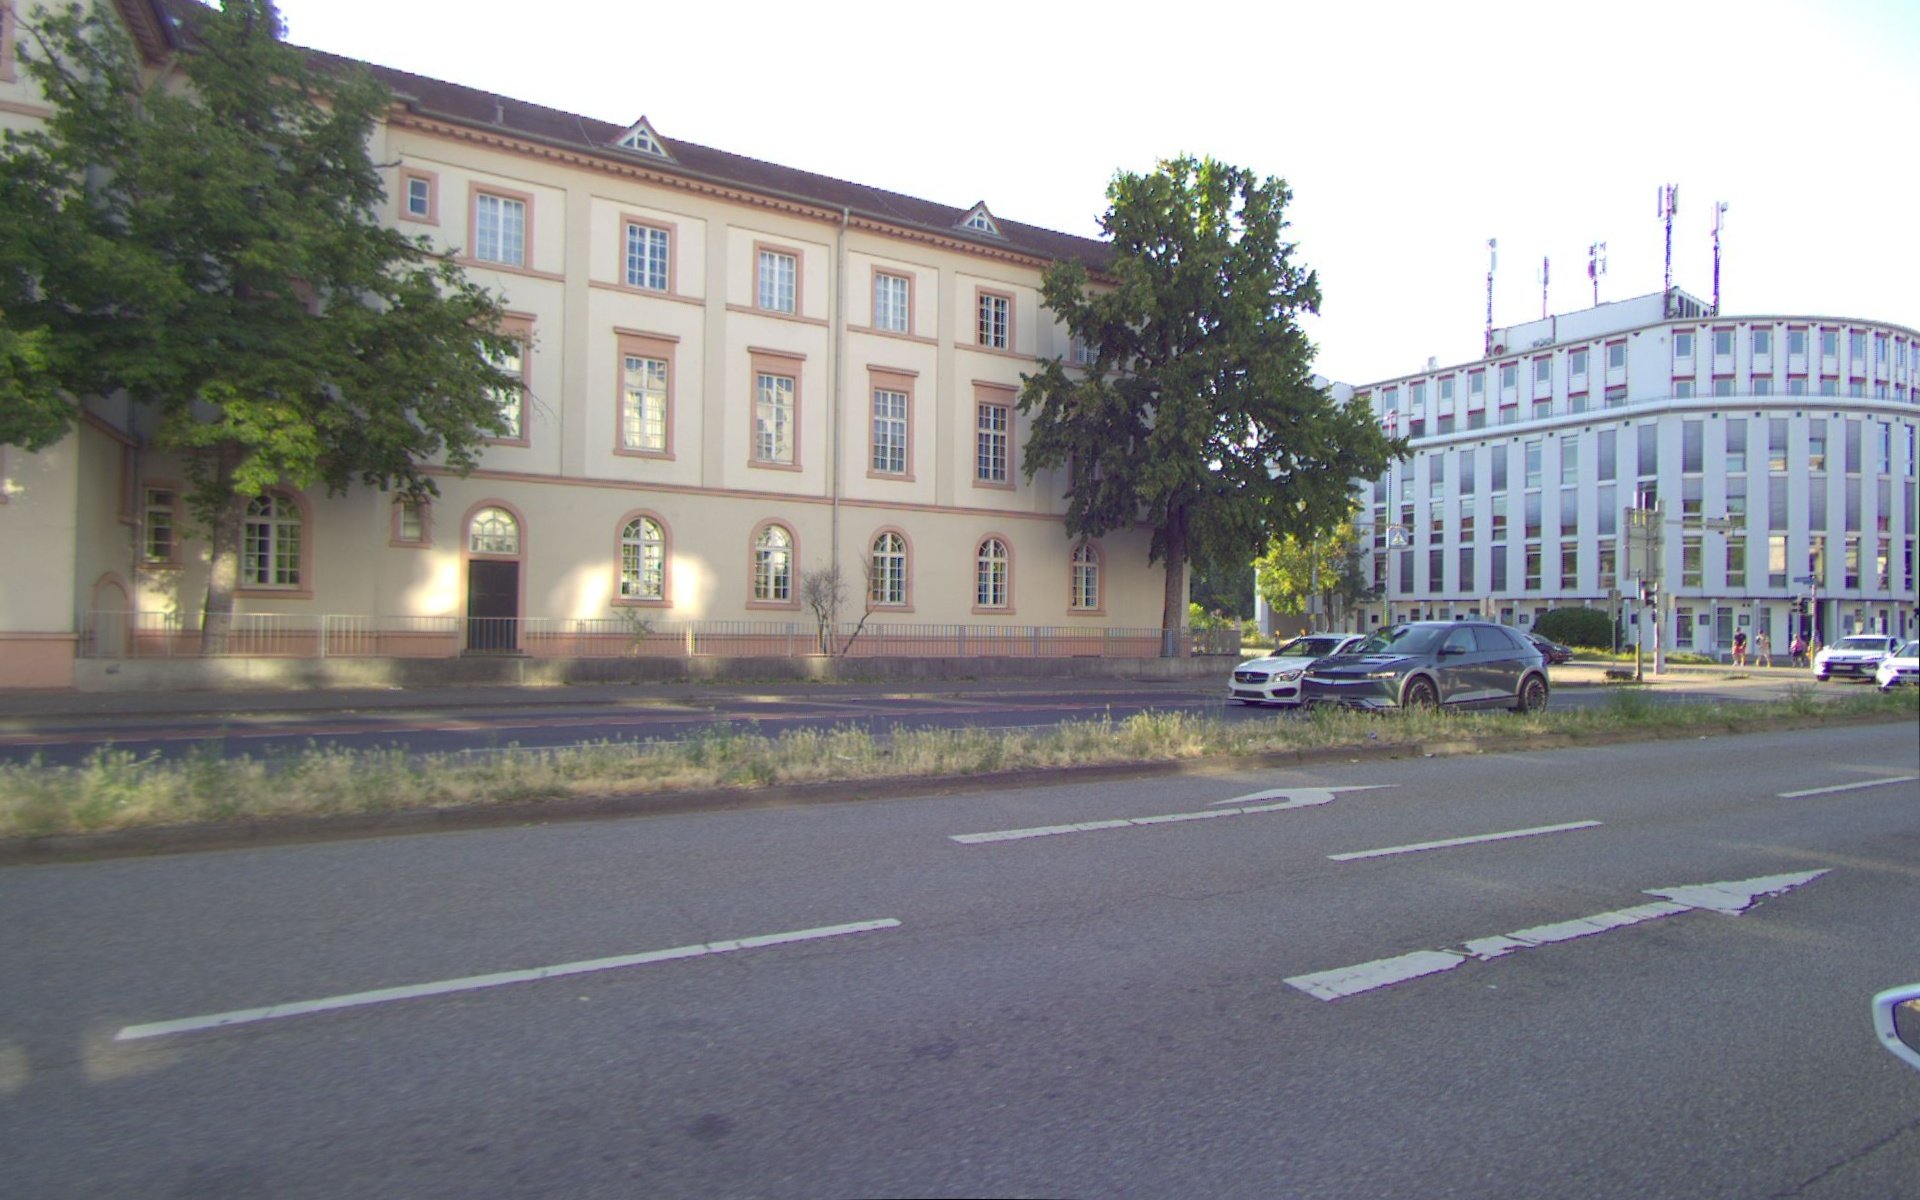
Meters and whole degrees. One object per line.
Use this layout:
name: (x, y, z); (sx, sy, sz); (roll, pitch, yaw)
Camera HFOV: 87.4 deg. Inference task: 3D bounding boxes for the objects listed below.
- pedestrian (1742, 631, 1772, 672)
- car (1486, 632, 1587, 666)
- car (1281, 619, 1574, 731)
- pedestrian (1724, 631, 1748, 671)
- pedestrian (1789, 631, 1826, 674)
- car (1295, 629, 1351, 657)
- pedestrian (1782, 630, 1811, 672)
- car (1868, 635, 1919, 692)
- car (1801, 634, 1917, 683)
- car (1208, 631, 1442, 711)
pedestrian: (36.986, 2.367, 46.625); (0.803, 1.866, 0.760); (1, -1, -9)
car: (27.468, 2.350, 47.940); (1.843, 1.549, 3.788); (4, -4, -32)
car: (7.710, 1.149, 16.443); (4.842, 1.599, 1.984); (2, -2, -31)
pedestrian: (36.617, 2.412, 47.383); (0.769, 1.883, 0.657); (1, -2, -30)
pedestrian: (37.707, 2.313, 44.687); (1.105, 1.893, 0.629); (1, -1, -1)
car: (26.798, 3.170, 74.247); (3.796, 1.756, 1.776); (0, -9, 19)
pedestrian: (37.858, 2.316, 45.441); (0.764, 1.893, 0.661); (1, -1, -8)
car: (25.778, 1.644, 26.390); (4.132, 1.411, 1.677); (1, -2, -30)
car: (29.963, 1.908, 33.460); (4.463, 1.518, 1.676); (1, -2, -32)
car: (7.269, 1.367, 19.962); (4.389, 1.431, 1.985); (1, -3, -29)
